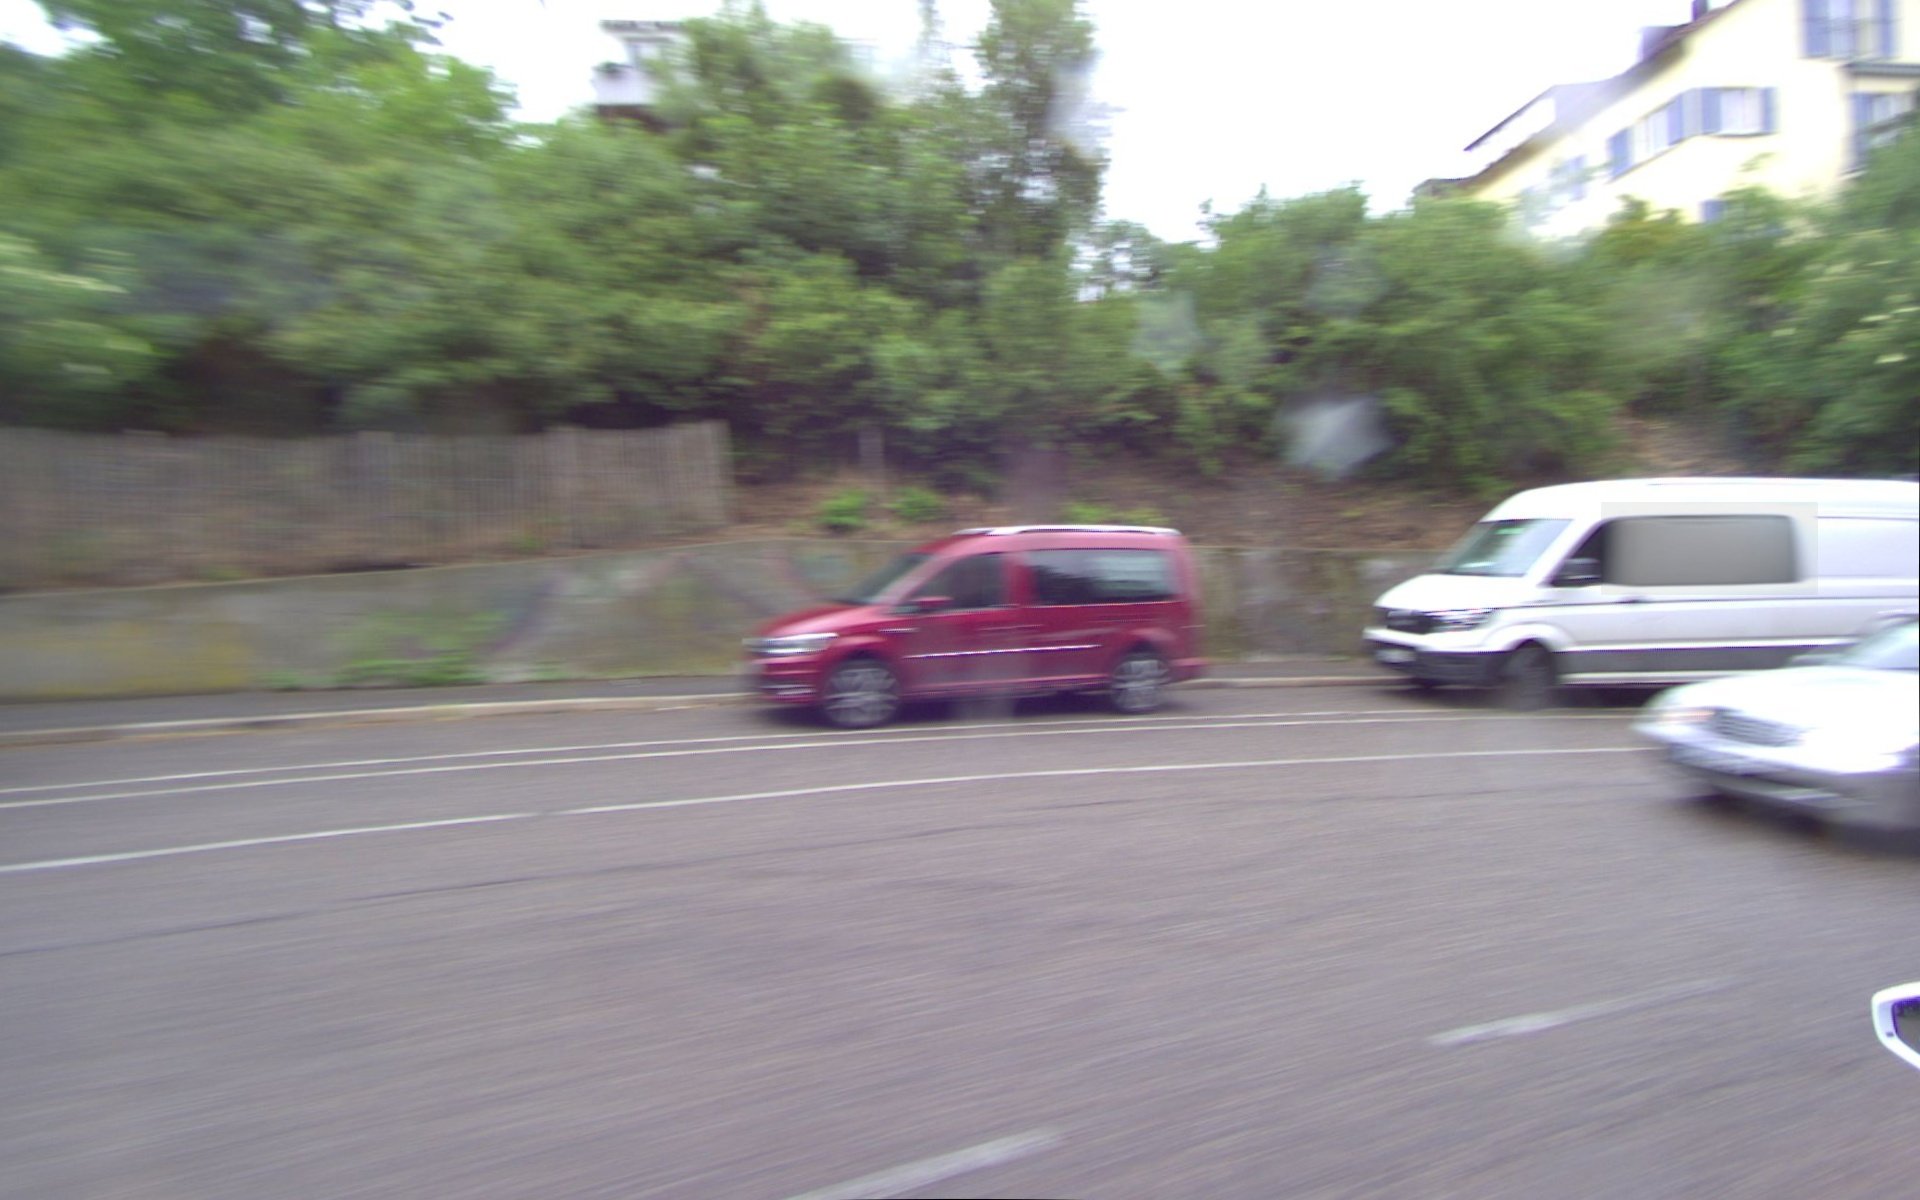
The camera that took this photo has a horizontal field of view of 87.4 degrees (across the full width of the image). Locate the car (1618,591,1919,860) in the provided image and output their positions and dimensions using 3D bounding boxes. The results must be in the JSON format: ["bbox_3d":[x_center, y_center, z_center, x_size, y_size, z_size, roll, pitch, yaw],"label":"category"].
[{"bbox_3d":[6.861,0.673,6.434,4.257,1.404,1.788,1,1,-7],"label":"car"}]

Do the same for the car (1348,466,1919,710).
[{"bbox_3d":[8.312,-0.154,11.962,6.695,2.565,2.038,0,2,-7],"label":"car"}]

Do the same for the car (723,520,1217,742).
[{"bbox_3d":[0.100,0.233,10.441,4.752,1.901,1.989,0,2,-23],"label":"car"}]
